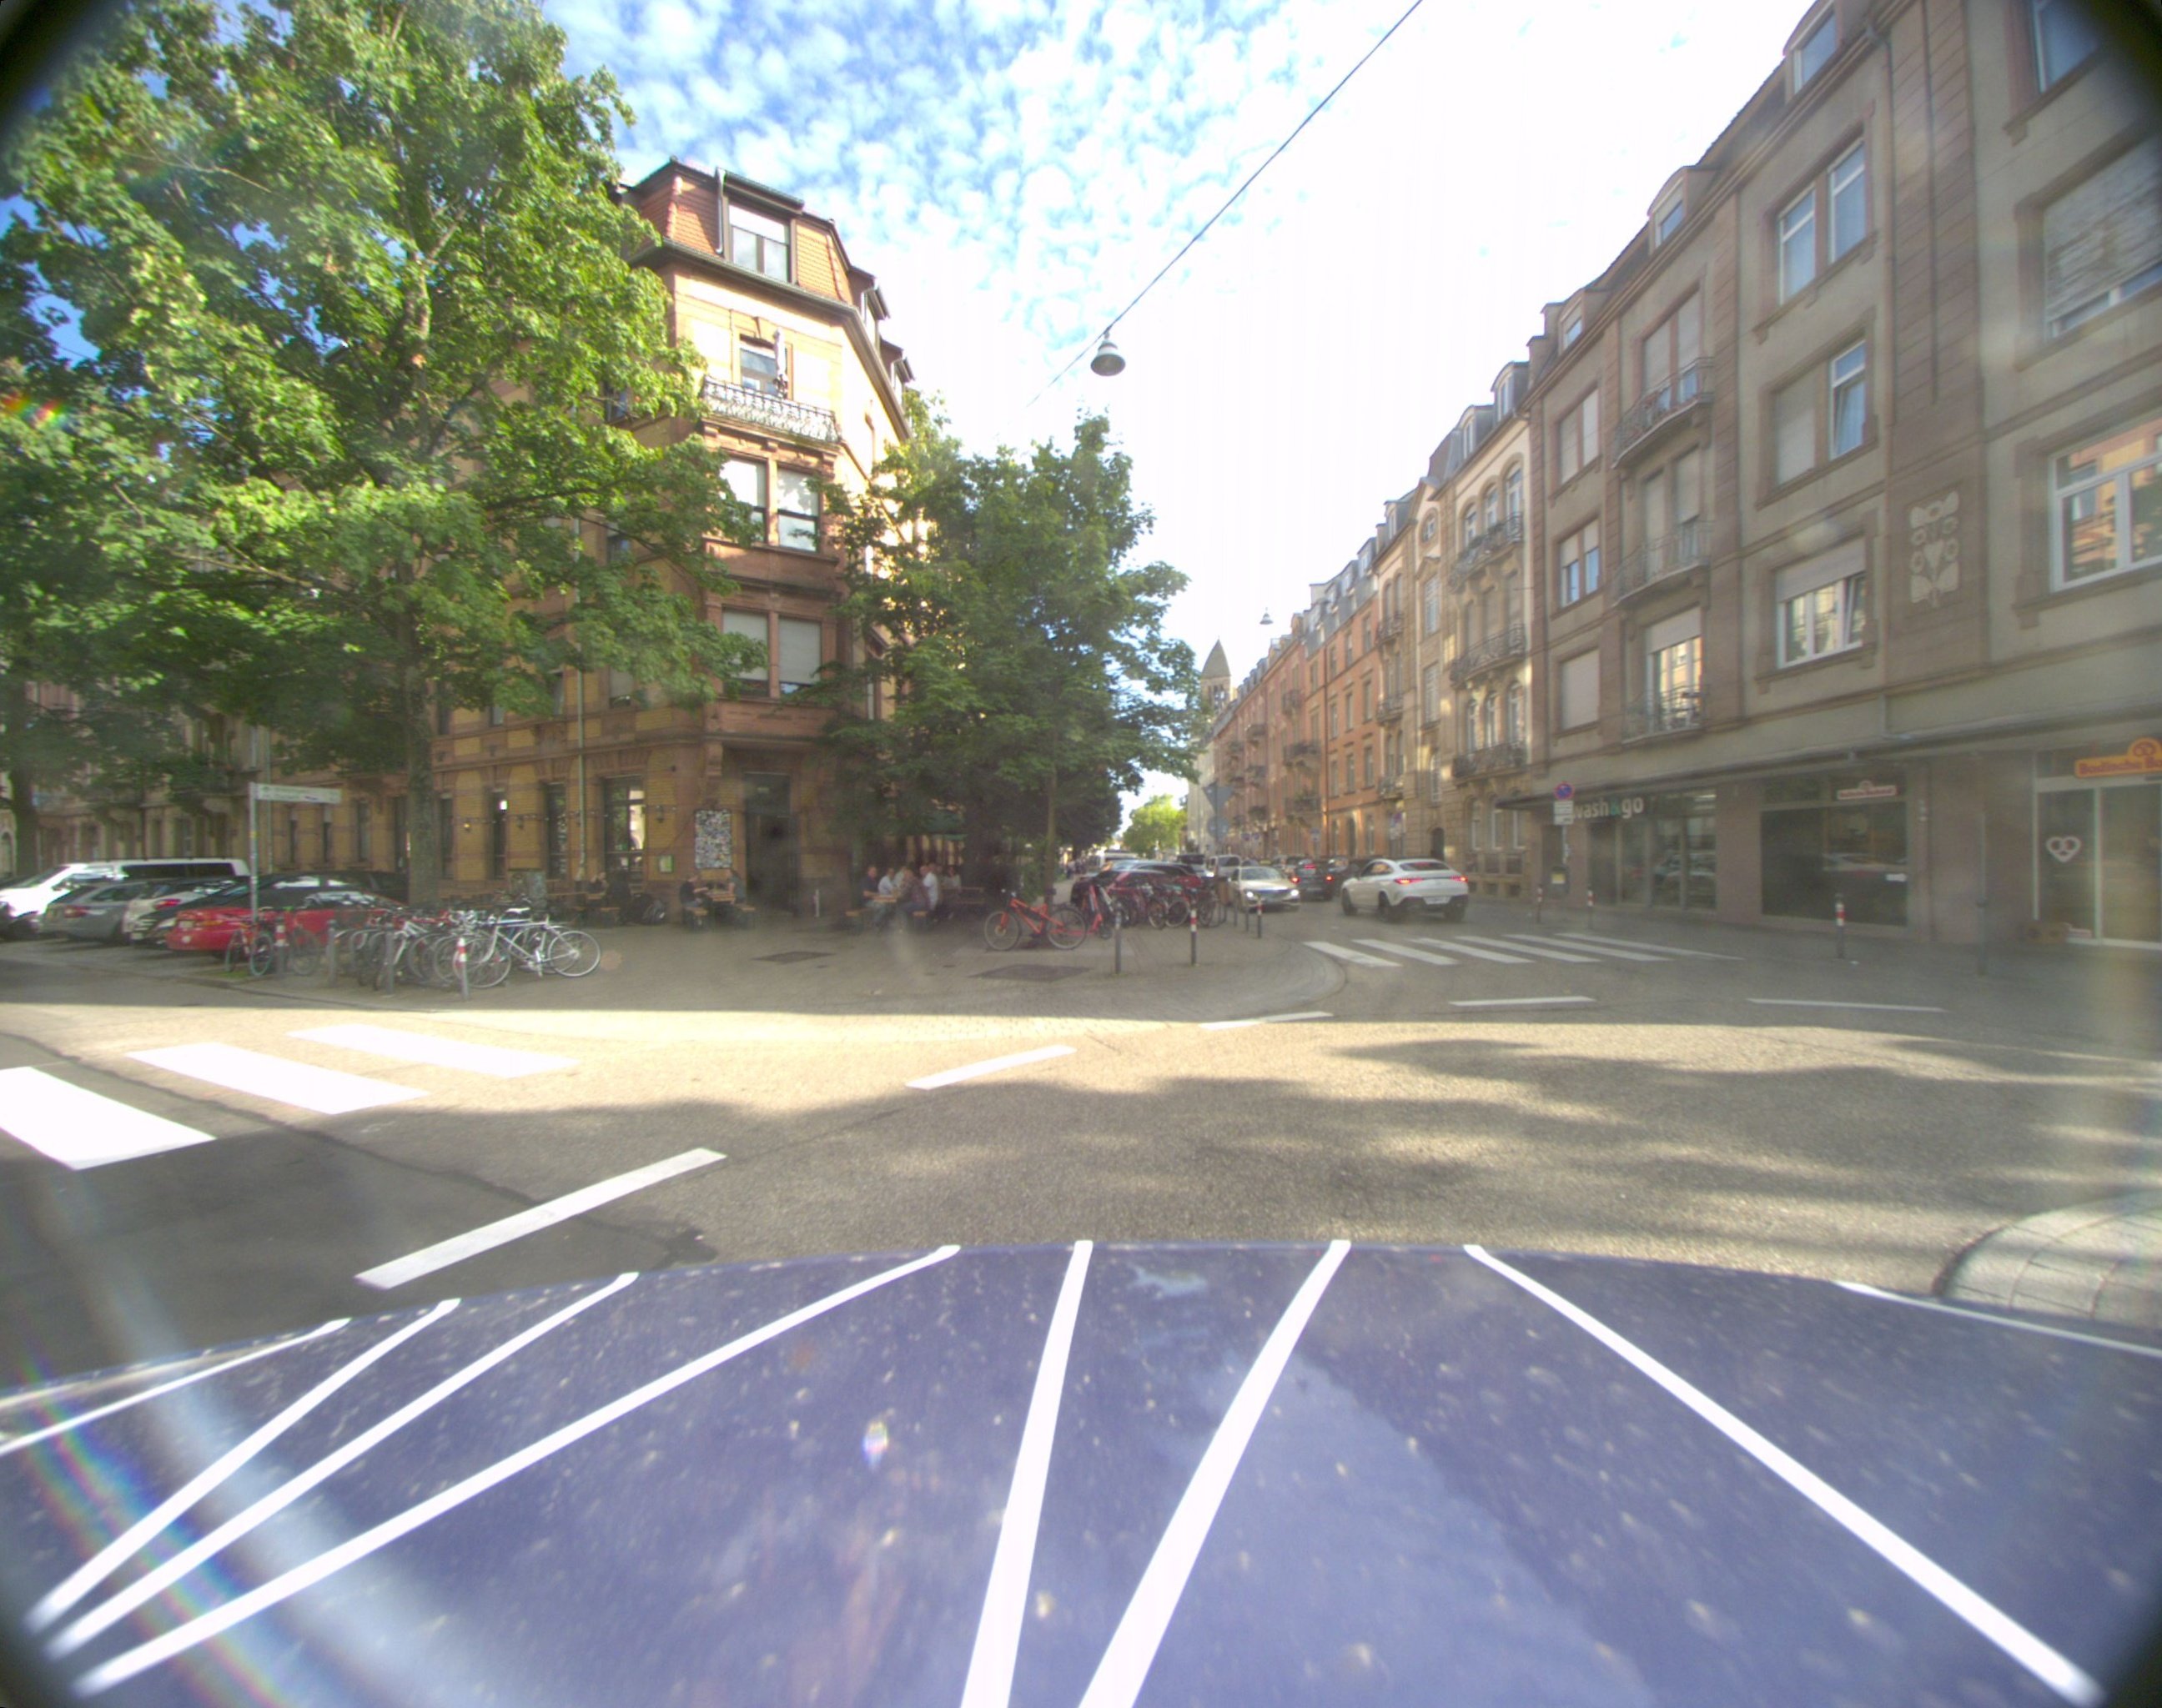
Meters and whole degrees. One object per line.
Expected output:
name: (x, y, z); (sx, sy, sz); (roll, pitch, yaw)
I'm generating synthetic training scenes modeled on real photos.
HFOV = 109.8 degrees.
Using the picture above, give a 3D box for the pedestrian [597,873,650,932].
pedestrian: (-10.621, 1.107, 17.664); (0.628, 1.278, 0.770); (-1, 2, 25)

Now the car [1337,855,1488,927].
car: (8.514, 0.866, 20.080); (1.998, 1.624, 4.844); (-1, 0, 2)

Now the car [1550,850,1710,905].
car: (18.237, 0.767, 25.330); (3.999, 1.611, 1.999); (-2, 0, -7)

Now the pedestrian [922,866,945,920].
pedestrian: (-3.755, 0.981, 19.316); (0.467, 1.320, 0.620); (-1, 1, -22)

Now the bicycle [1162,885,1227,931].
bicycle: (2.704, 1.269, 18.260); (0.473, 0.979, 1.860); (1, 0, -29)

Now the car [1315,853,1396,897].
car: (11.197, 0.809, 31.314); (1.861, 1.575, 4.399); (-2, 0, 2)

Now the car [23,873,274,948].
car: (-23.578, 1.341, 19.378); (1.665, 1.450, 3.713); (0, 3, 29)

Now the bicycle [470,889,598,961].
bicycle: (-10.067, 1.272, 14.055); (0.598, 1.108, 1.803); (1, 2, 31)

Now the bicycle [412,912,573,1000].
bicycle: (-8.265, 1.397, 10.744); (0.447, 0.981, 1.716); (1, 3, 40)

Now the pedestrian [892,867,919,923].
pedestrian: (-4.233, 0.970, 18.312); (0.549, 1.293, 0.620); (-1, 1, -22)

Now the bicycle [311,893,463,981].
bicycle: (-11.213, 1.304, 12.347); (0.447, 1.195, 1.715); (1, 2, 31)

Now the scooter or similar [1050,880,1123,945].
scooter or similar: (0.102, 1.114, 14.676); (1.290, 1.203, 0.557); (0, -1, 23)

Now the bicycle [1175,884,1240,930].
bicycle: (3.061, 1.273, 18.539); (0.473, 0.979, 1.860); (1, 0, -29)

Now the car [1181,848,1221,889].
car: (6.350, 0.756, 40.404); (1.792, 2.051, 4.001); (-1, 0, 5)

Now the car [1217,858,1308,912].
car: (6.025, 0.977, 25.786); (1.943, 1.588, 4.836); (-2, 0, 1)

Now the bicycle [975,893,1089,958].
bicycle: (-0.803, 1.191, 12.774); (1.855, 1.029, 0.684); (0, 1, 1)

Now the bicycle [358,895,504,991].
bicycle: (-9.834, 1.304, 11.586); (0.447, 1.195, 1.713); (0, 2, 13)

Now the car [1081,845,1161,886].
car: (2.602, 0.711, 49.117); (4.746, 2.408, 1.995); (-2, 0, -30)

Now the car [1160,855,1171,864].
car: (14.269, 0.907, 128.782); (1.624, 1.371, 3.762); (-1, 0, 3)

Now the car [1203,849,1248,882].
car: (9.029, 0.706, 47.817); (1.943, 1.869, 4.836); (-2, 0, 1)

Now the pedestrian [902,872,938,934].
pedestrian: (-3.451, 1.037, 16.347); (0.729, 1.307, 0.520); (0, 0, -10)

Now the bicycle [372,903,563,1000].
bicycle: (-8.716, 1.343, 10.900); (0.447, 1.083, 2.049); (1, 3, 40)

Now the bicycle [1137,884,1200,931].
bicycle: (2.048, 1.239, 18.116); (0.473, 0.979, 1.860); (1, 0, -29)

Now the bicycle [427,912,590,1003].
bicycle: (-7.878, 1.390, 10.535); (0.447, 0.981, 1.716); (1, 3, 40)

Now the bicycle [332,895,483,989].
bicycle: (-10.358, 1.313, 11.776); (0.447, 1.195, 1.714); (0, 2, 19)

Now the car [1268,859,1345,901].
car: (8.723, 0.948, 29.752); (1.769, 1.373, 4.452); (-3, 0, 2)

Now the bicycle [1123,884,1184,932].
bicycle: (1.661, 1.233, 17.743); (0.418, 0.979, 1.834); (1, 0, -29)

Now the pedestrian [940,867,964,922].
pedestrian: (-3.222, 0.992, 18.997); (0.467, 1.320, 0.620); (-1, 1, -22)

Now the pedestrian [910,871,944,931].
pedestrian: (-3.425, 1.033, 16.965); (0.729, 1.307, 0.607); (0, 0, -10)

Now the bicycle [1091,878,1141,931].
bicycle: (0.783, 1.144, 17.669); (0.476, 1.094, 1.671); (1, 0, -23)

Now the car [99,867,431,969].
car: (-16.706, 1.178, 15.834); (2.001, 1.561, 4.319); (-1, 2, 31)

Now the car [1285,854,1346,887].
car: (11.430, 0.779, 37.351); (1.761, 1.488, 4.133); (-2, 0, 1)

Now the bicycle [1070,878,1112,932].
bicycle: (0.204, 1.141, 17.409); (0.434, 1.094, 1.672); (1, 0, -18)

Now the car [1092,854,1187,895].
car: (2.420, 0.840, 31.617); (3.592, 1.603, 1.510); (2, 0, -21)

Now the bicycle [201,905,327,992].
bicycle: (-12.472, 1.397, 11.575); (2.493, 1.090, 0.582); (0, 4, 27)

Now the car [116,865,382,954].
car: (-18.804, 1.171, 17.363); (1.856, 1.711, 3.715); (-2, 0, 29)

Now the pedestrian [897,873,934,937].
pedestrian: (-3.446, 1.053, 15.815); (0.729, 1.307, 0.520); (0, 0, -10)

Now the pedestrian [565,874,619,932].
pedestrian: (-11.495, 1.139, 17.876); (0.628, 1.278, 0.770); (-1, 2, 25)

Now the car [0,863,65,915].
car: (-41.270, 1.384, 27.806); (1.932, 1.824, 4.464); (0, 3, 24)

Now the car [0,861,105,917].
car: (-39.027, 1.302, 27.280); (1.932, 1.824, 4.464); (0, 3, 24)

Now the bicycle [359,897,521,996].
bicycle: (-9.304, 1.306, 11.094); (0.447, 1.195, 1.716); (1, 3, 40)

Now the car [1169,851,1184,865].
car: (13.476, 0.506, 107.522); (1.726, 1.921, 4.012); (-1, 0, 3)

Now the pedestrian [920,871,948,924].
pedestrian: (-3.579, 1.050, 18.429); (0.549, 1.225, 0.620); (-1, 1, -22)

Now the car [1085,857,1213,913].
car: (2.101, 0.954, 23.403); (3.592, 1.606, 1.510); (2, 0, -21)

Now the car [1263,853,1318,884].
car: (11.708, 0.804, 42.752); (1.762, 1.588, 4.341); (-2, 0, -1)

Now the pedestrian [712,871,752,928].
pedestrian: (-8.184, 1.060, 17.840); (0.510, 1.252, 0.643); (2, 3, 34)

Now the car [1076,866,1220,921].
car: (1.829, 1.057, 20.773); (3.592, 1.372, 1.510); (2, 0, -23)

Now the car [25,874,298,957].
car: (-21.179, 1.345, 17.682); (1.665, 1.449, 3.713); (-2, 2, 29)

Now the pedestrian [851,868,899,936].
pedestrian: (-4.367, 0.999, 16.109); (0.715, 1.371, 0.671); (0, 1, 37)

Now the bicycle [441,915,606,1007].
bicycle: (-7.492, 1.399, 10.292); (0.447, 0.964, 1.716); (1, 3, 40)

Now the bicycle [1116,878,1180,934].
bicycle: (1.503, 1.149, 17.336); (0.476, 1.136, 1.834); (1, 0, -29)

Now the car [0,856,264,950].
car: (-25.732, 1.180, 20.208); (2.042, 1.978, 4.917); (0, 3, 24)

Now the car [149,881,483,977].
car: (-14.172, 1.304, 14.417); (1.564, 1.263, 4.118); (-2, 1, 25)

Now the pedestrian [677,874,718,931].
pedestrian: (-8.695, 1.092, 17.232); (0.510, 1.218, 0.643); (2, 3, 34)

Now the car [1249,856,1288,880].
car: (11.647, 0.850, 47.310); (1.624, 1.371, 3.762); (-1, 0, 2)

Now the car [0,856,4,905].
car: (-50.683, 1.246, 32.237); (1.995, 2.188, 5.492); (-2, 0, 27)

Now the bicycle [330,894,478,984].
bicycle: (-10.719, 1.308, 12.113); (0.447, 1.195, 1.714); (0, 2, 19)
